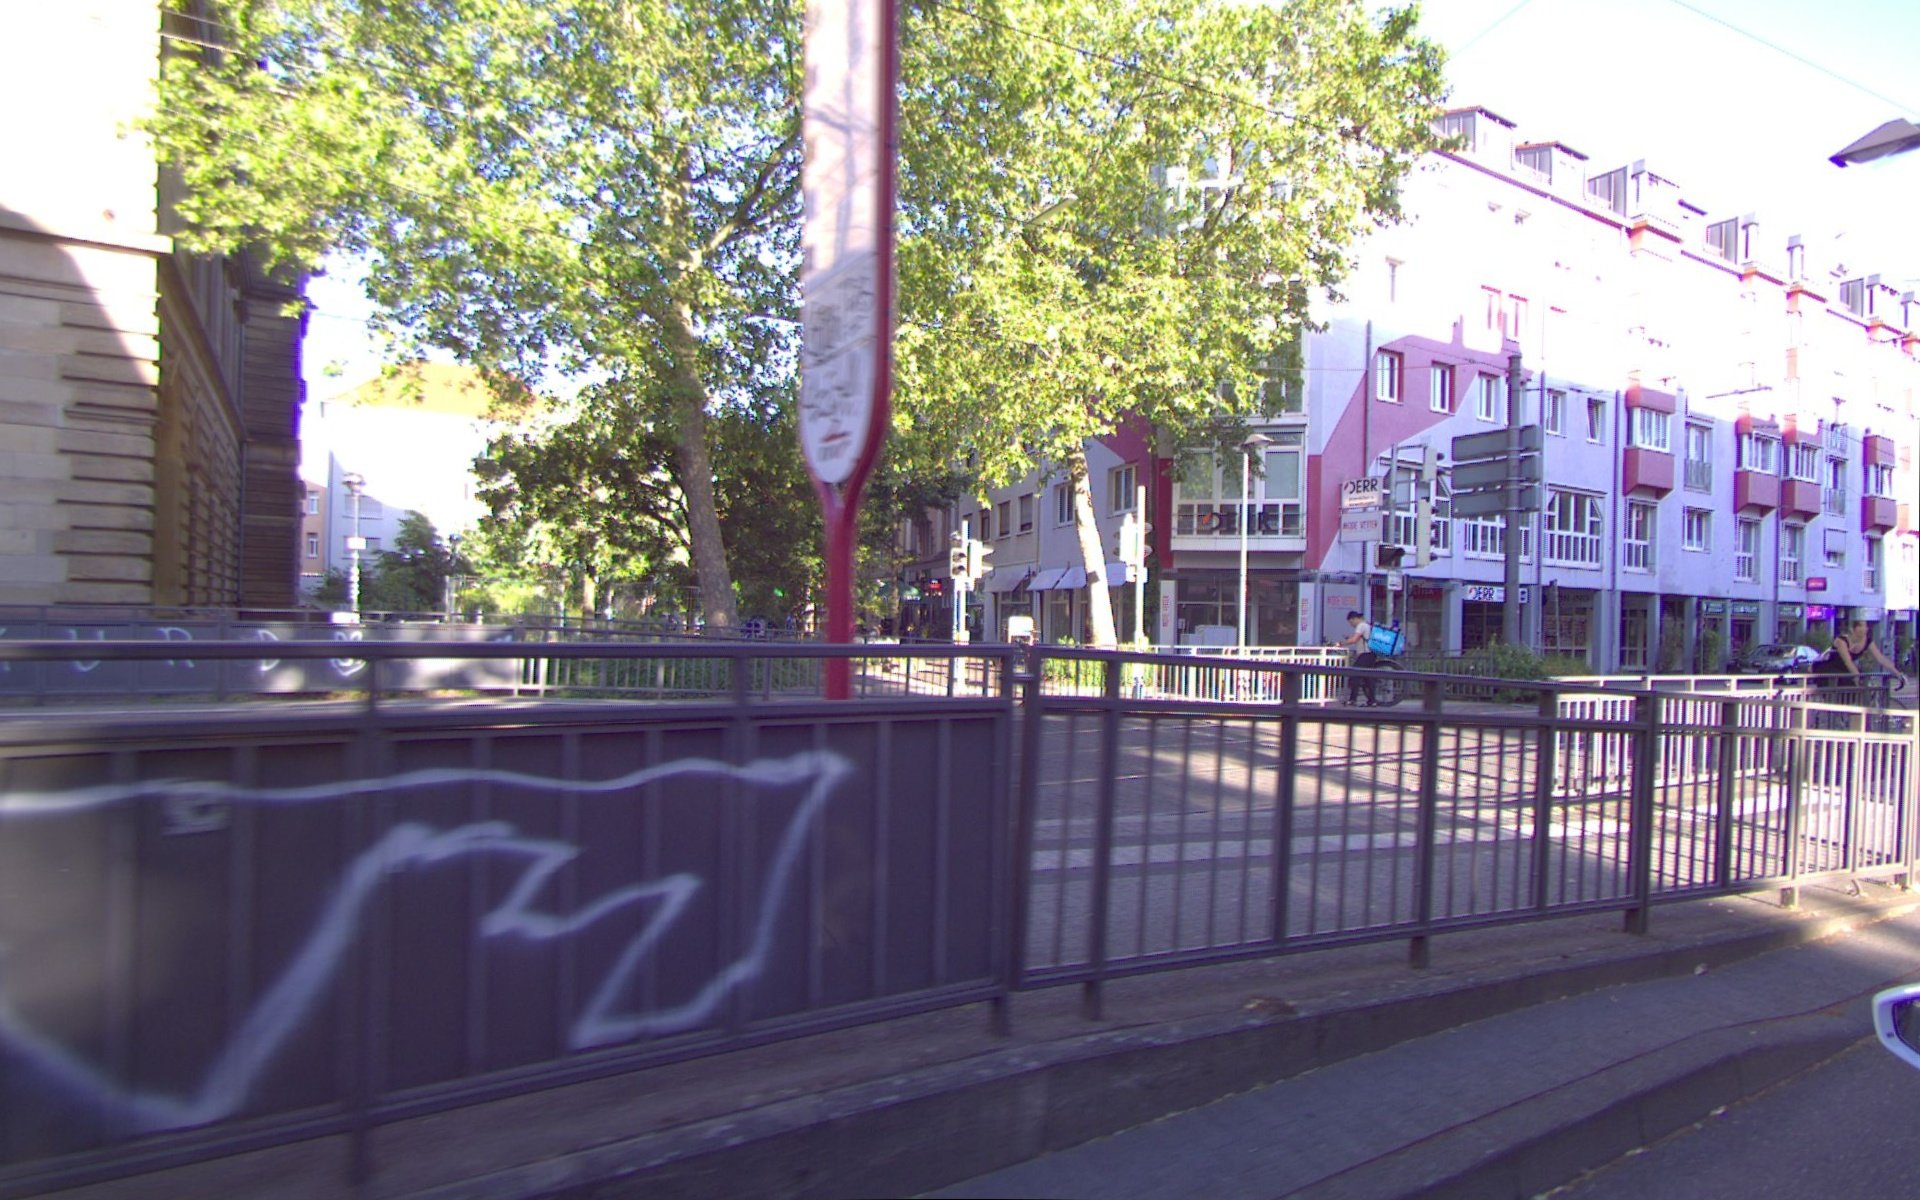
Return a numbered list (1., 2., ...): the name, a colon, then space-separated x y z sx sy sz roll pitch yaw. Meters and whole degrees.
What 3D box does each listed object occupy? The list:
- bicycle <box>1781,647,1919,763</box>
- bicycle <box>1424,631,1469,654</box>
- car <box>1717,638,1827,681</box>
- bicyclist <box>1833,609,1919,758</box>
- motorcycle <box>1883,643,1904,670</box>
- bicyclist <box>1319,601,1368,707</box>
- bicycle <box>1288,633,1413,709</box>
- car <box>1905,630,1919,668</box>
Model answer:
1. bicycle: 10.435 1.163 11.495 0.572 1.092 1.900 3 2 4
2. bicycle: 15.219 1.324 31.389 1.792 0.667 0.452 2 2 -36
3. car: 30.787 2.222 38.035 4.656 1.458 1.858 2 0 -33
4. bicyclist: 10.360 0.910 11.282 0.523 1.599 0.746 1 0 13
5. motorcycle: 44.683 2.718 48.070 0.662 1.221 2.129 3 0 43
6. bicyclist: 6.461 0.889 16.934 0.731 1.735 0.534 1 0 21
7. bicycle: 6.561 1.167 16.904 1.864 1.092 0.583 4 2 27
8. car: 47.049 2.426 47.601 4.765 1.735 2.080 3 0 -31
